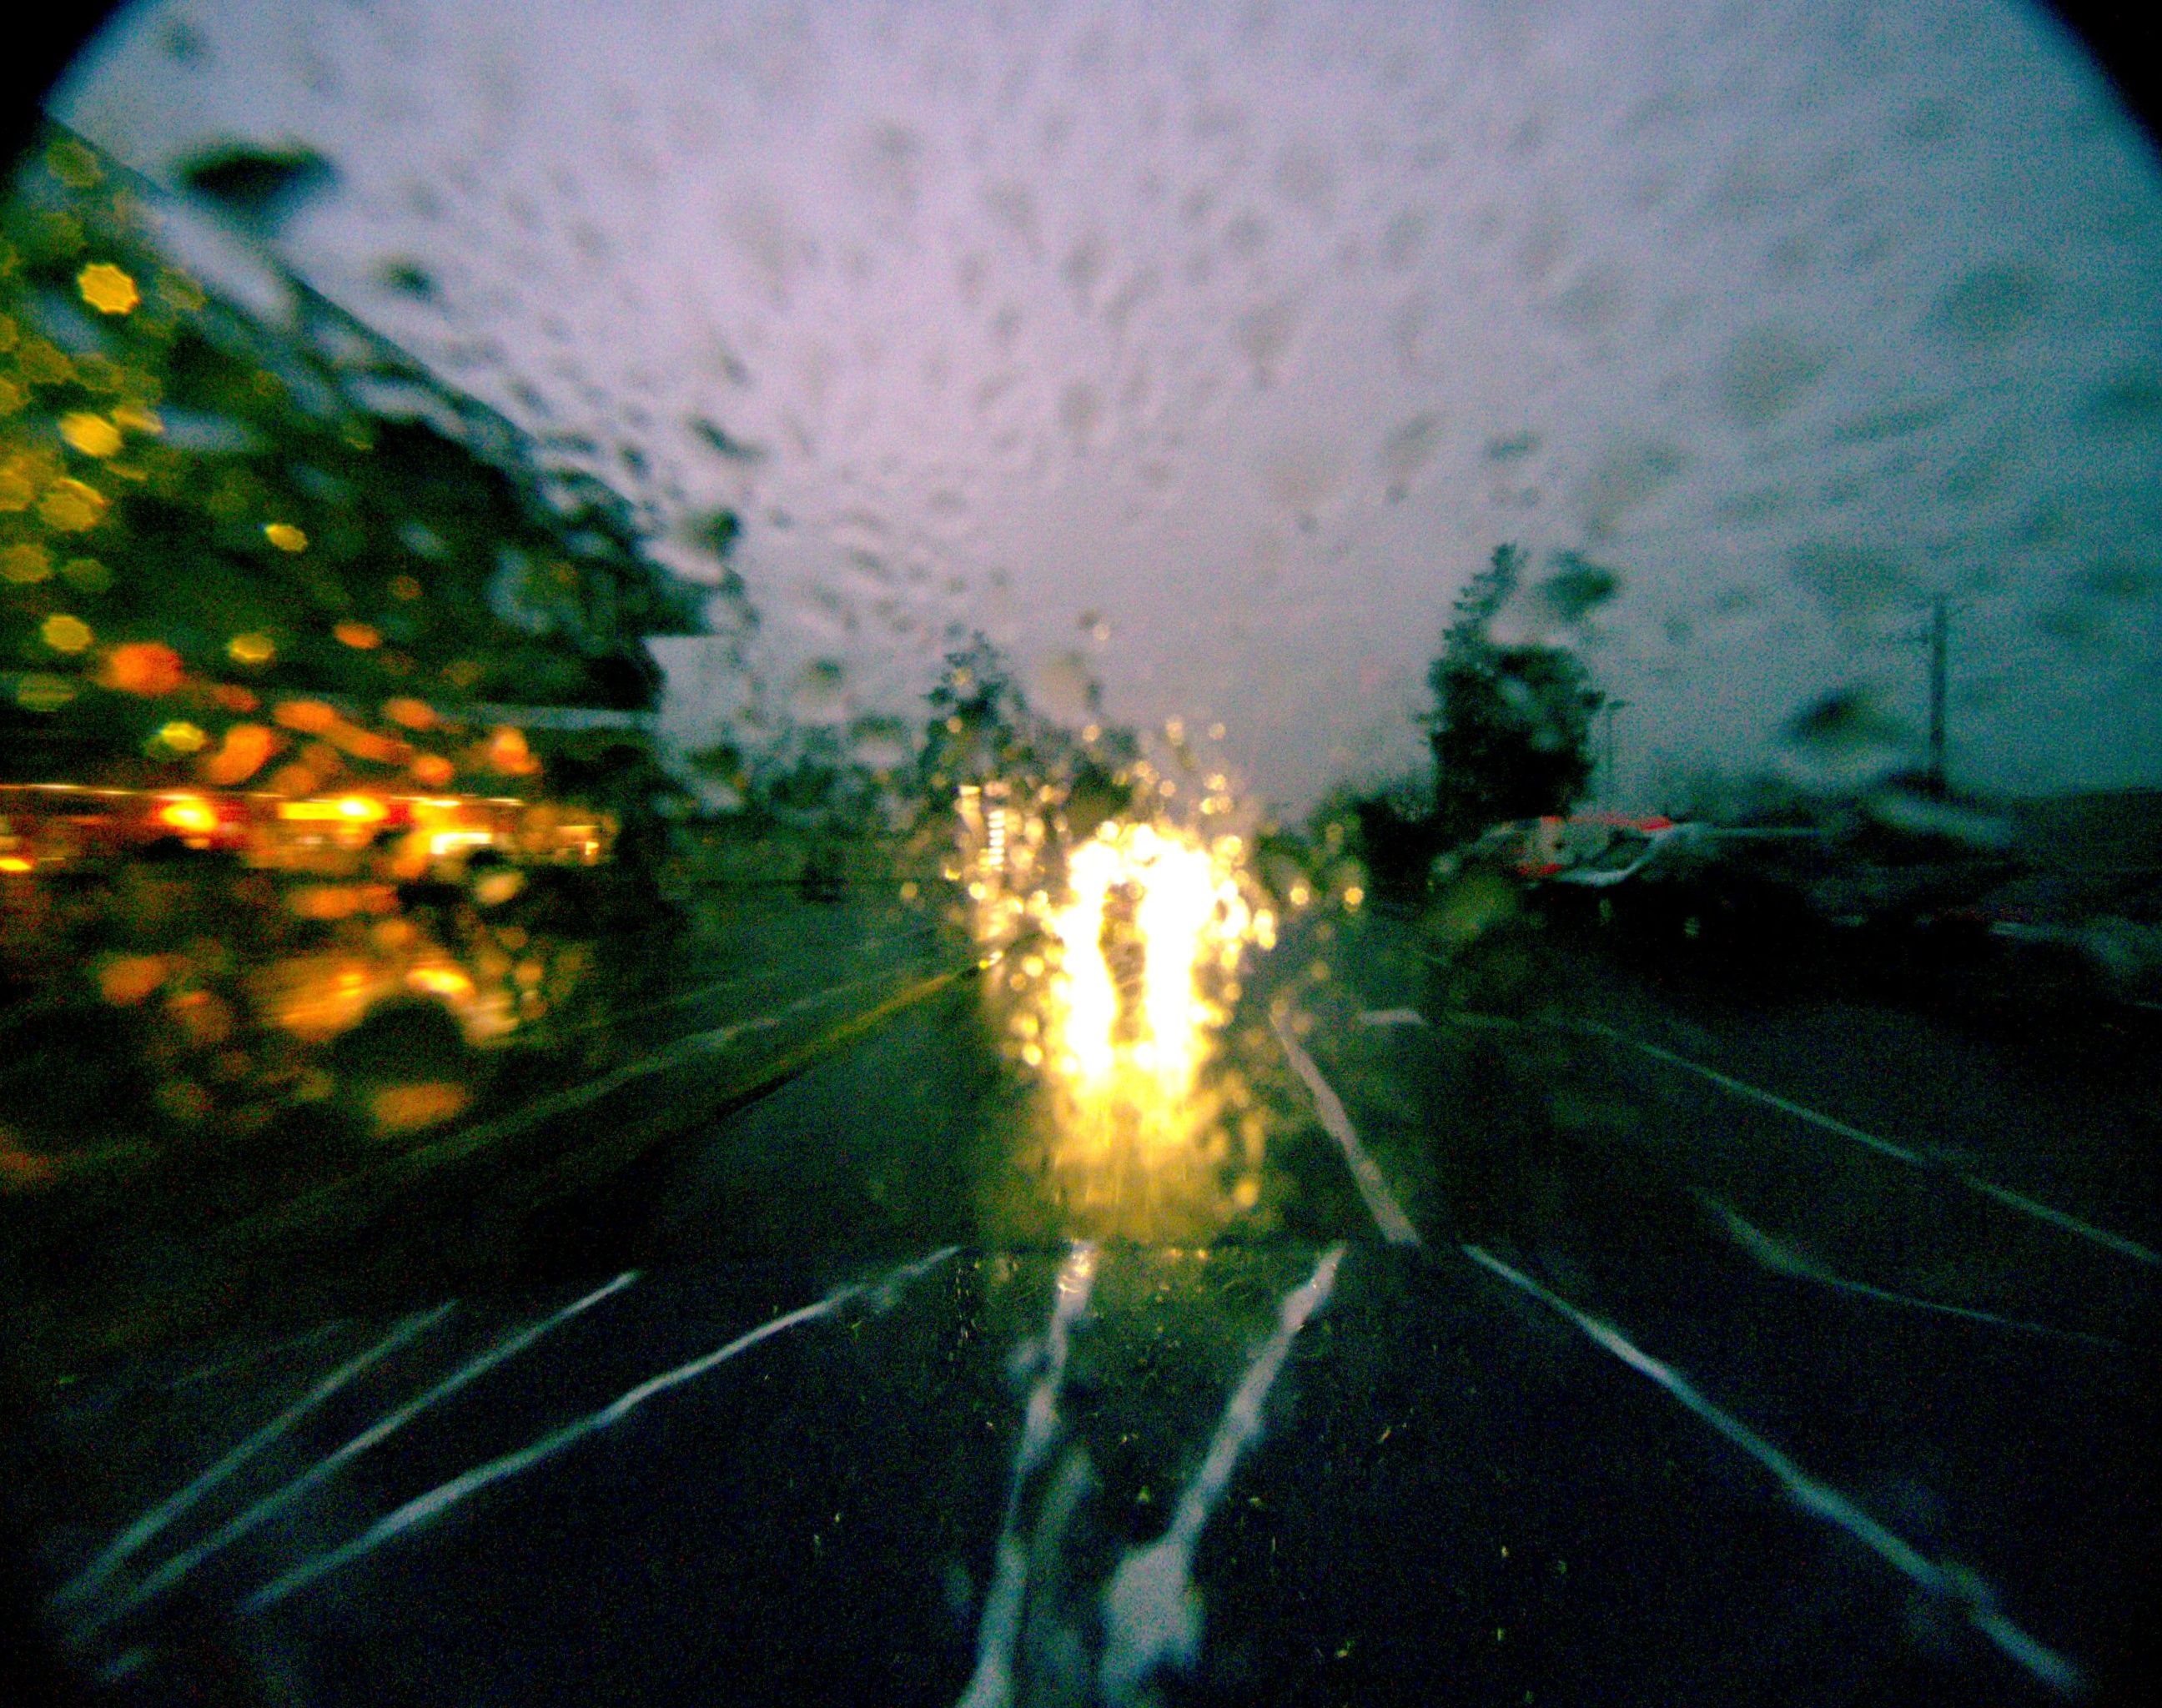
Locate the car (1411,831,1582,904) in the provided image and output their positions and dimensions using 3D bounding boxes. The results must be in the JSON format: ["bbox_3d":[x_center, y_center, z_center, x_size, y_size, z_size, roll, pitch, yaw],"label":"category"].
[{"bbox_3d":[14.040,0.425,25.920,4.675,2.259,1.988,1,1,7],"label":"car"}]

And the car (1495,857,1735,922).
[{"bbox_3d":[13.800,0.868,19.919,4.758,1.474,1.956,1,1,7],"label":"car"}]

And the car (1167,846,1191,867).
[{"bbox_3d":[8.177,0.204,63.514,1.888,1.618,4.002,-1,0,8],"label":"car"}]

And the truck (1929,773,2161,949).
[{"bbox_3d":[22.197,0.167,16.068,2.035,3.435,5.853,2,1,3],"label":"truck"}]

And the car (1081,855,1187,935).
[{"bbox_3d":[1.122,0.795,16.695,2.015,1.484,4.000,-1,1,3],"label":"car"}]

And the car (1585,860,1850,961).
[{"bbox_3d":[10.280,0.830,12.683,1.654,1.411,3.745,1,-1,8],"label":"car"}]

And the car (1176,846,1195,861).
[{"bbox_3d":[11.527,-0.092,83.888,1.889,1.618,4.001,-1,1,5],"label":"car"}]

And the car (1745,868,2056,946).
[{"bbox_3d":[15.896,0.982,14.926,3.996,1.375,1.842,1,-1,3],"label":"car"}]

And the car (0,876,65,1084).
[{"bbox_3d":[-8.294,0.867,3.441,1.575,1.388,4.170,1,1,7],"label":"car"}]

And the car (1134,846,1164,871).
[{"bbox_3d":[4.960,0.283,54.712,1.932,1.701,4.002,-1,1,8],"label":"car"}]

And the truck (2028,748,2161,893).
[{"bbox_3d":[35.903,-1.155,24.028,8.710,4.237,3.005,-2,1,-4],"label":"truck"}]

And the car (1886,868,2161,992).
[{"bbox_3d":[13.197,0.958,10.111,3.235,1.483,1.499,0,1,4],"label":"car"}]

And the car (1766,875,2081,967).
[{"bbox_3d":[13.369,1.043,12.217,3.310,1.321,1.481,0,1,3],"label":"car"}]

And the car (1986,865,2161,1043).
[{"bbox_3d":[9.428,0.826,5.453,1.653,1.404,3.843,0,0,9],"label":"car"}]

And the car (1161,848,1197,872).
[{"bbox_3d":[6.215,0.363,48.620,2.015,1.484,4.000,0,1,3],"label":"car"}]

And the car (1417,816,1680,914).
[{"bbox_3d":[13.442,0.282,22.269,6.168,2.617,2.177,1,1,7],"label":"car"}]

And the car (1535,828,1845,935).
[{"bbox_3d":[13.642,0.567,17.361,5.155,2.138,2.059,1,1,7],"label":"car"}]
